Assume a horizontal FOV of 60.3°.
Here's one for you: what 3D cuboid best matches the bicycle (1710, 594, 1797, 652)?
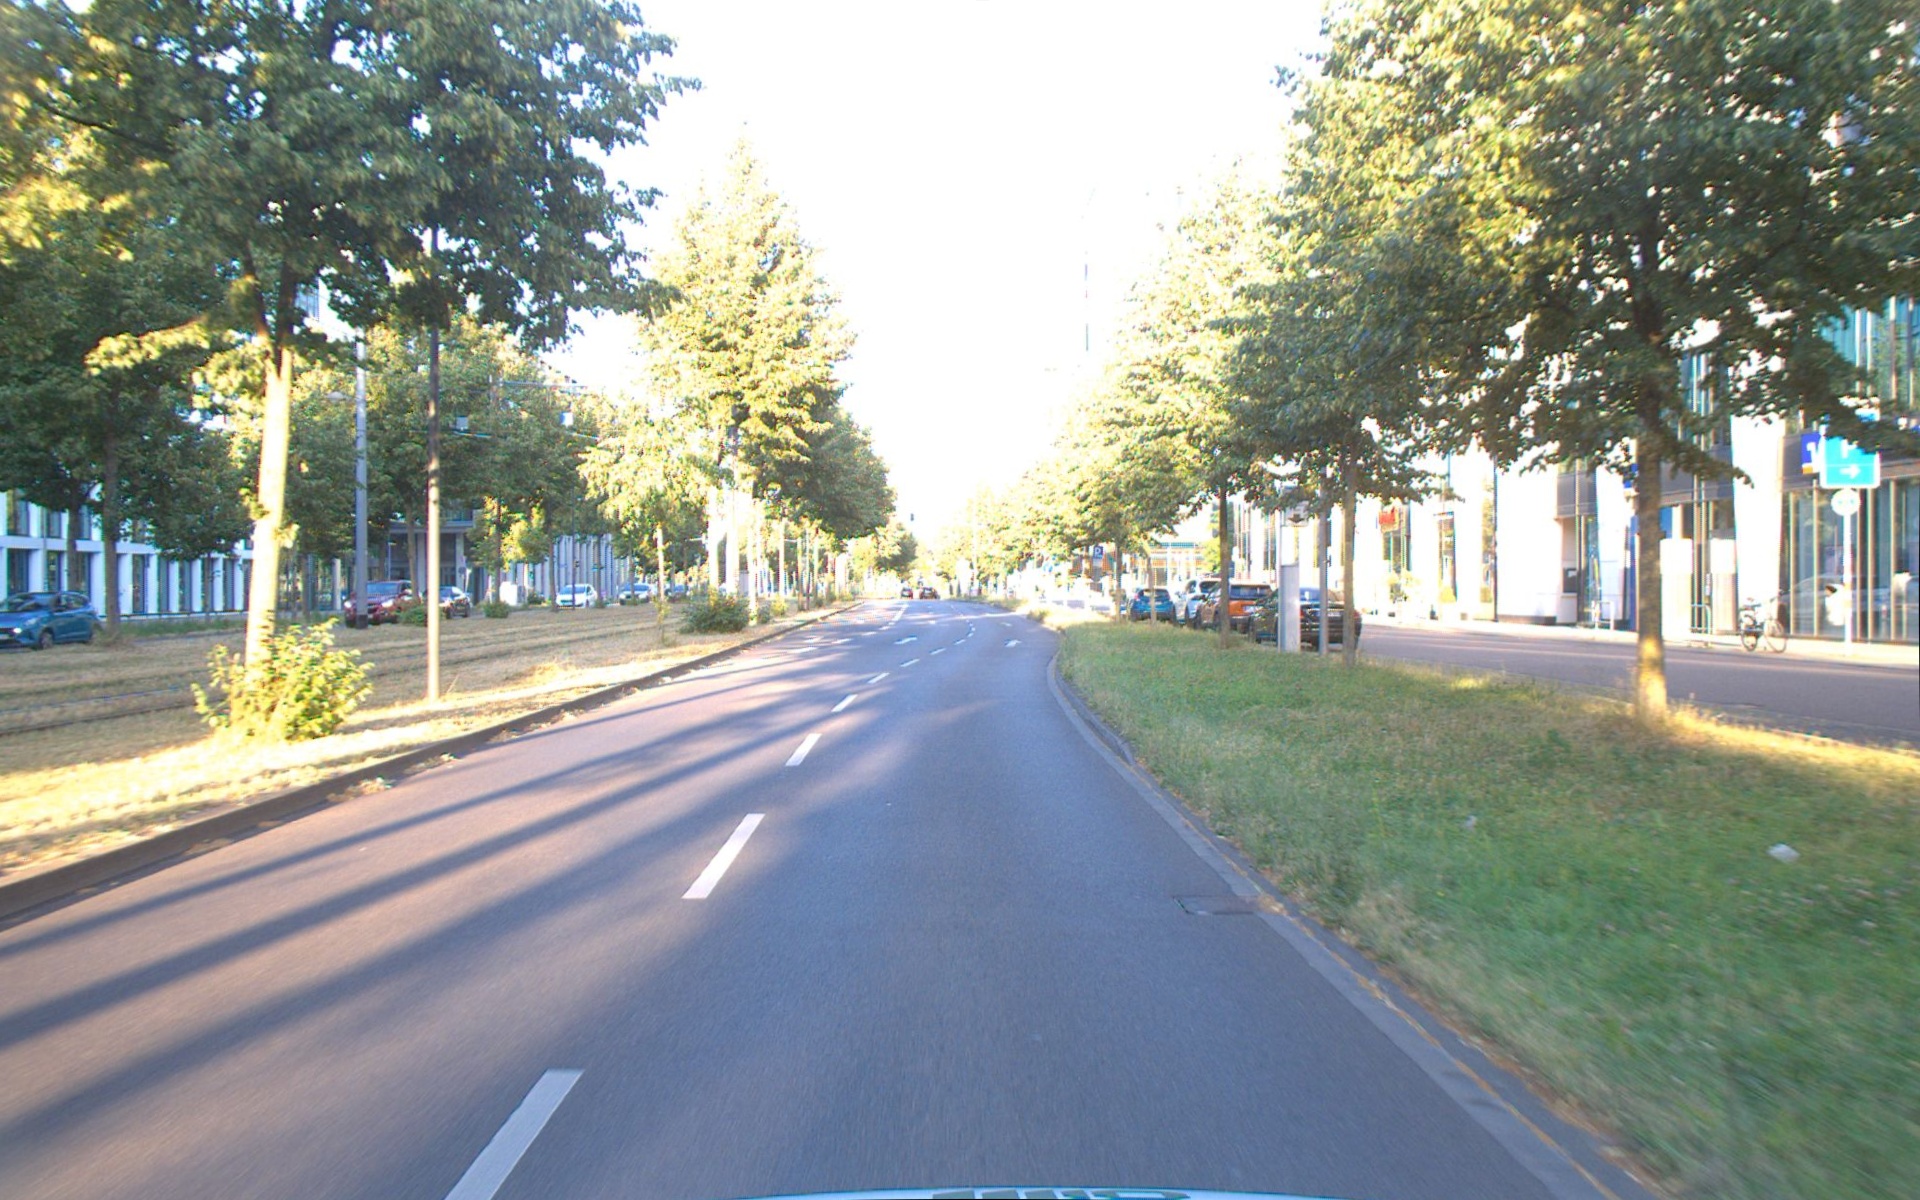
[{"bbox_3d":[15.009,0.412,31.346,0.639,1.057,2.055,0,0,-1],"label":"bicycle"}]

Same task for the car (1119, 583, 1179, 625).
[{"bbox_3d":[7.280,0.126,64.078,1.689,1.556,4.267,1,0,-2],"label":"car"}]

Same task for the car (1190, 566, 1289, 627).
[{"bbox_3d":[7.582,-0.096,45.259,1.817,1.556,4.481,1,0,-2],"label":"car"}]

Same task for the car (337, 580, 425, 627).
[{"bbox_3d":[-20.652,0.105,59.175,1.847,1.605,4.180,-1,0,-3],"label":"car"}]

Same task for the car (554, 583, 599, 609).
[{"bbox_3d":[-21.097,-0.239,91.228,1.624,1.355,4.528,-1,0,-3],"label":"car"}]

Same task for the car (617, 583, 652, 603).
[{"bbox_3d":[-22.046,-0.474,112.171,1.624,1.355,4.739,-1,0,-3],"label":"car"}]

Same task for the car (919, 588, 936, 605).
[{"bbox_3d":[-3.970,-0.391,202.637,1.953,2.049,3.999,0,1,-2],"label":"car"}]

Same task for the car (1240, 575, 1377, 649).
[{"bbox_3d":[7.941,0.247,38.172,1.905,1.576,4.809,0,0,-3],"label":"car"}]

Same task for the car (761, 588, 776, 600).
[{"bbox_3d":[-25.836,-0.765,222.977,1.693,1.617,3.513,-1,0,-2],"label":"car"}]

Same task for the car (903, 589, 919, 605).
[{"bbox_3d":[-6.411,-0.386,217.741,2.045,2.049,3.999,0,1,-2],"label":"car"}]

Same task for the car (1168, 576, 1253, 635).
[{"bbox_3d":[7.931,0.147,52.785,1.911,1.744,5.158,1,0,0],"label":"car"}]

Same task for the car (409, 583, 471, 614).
[{"bbox_3d":[-23.718,-0.067,75.579,1.624,1.355,4.471,-1,0,-3],"label":"car"}]

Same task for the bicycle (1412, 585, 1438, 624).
[{"bbox_3d":[14.503,0.141,51.576,0.558,1.144,1.835,-2,1,10],"label":"bicycle"}]

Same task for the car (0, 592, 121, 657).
[{"bbox_3d":[-23.058,0.569,41.507,1.879,1.534,4.286,0,0,-2],"label":"car"}]

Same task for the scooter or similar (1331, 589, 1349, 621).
[{"bbox_3d":[14.463,0.182,62.961,0.348,1.207,1.310,-2,0,0],"label":"scooter or similar"}]
